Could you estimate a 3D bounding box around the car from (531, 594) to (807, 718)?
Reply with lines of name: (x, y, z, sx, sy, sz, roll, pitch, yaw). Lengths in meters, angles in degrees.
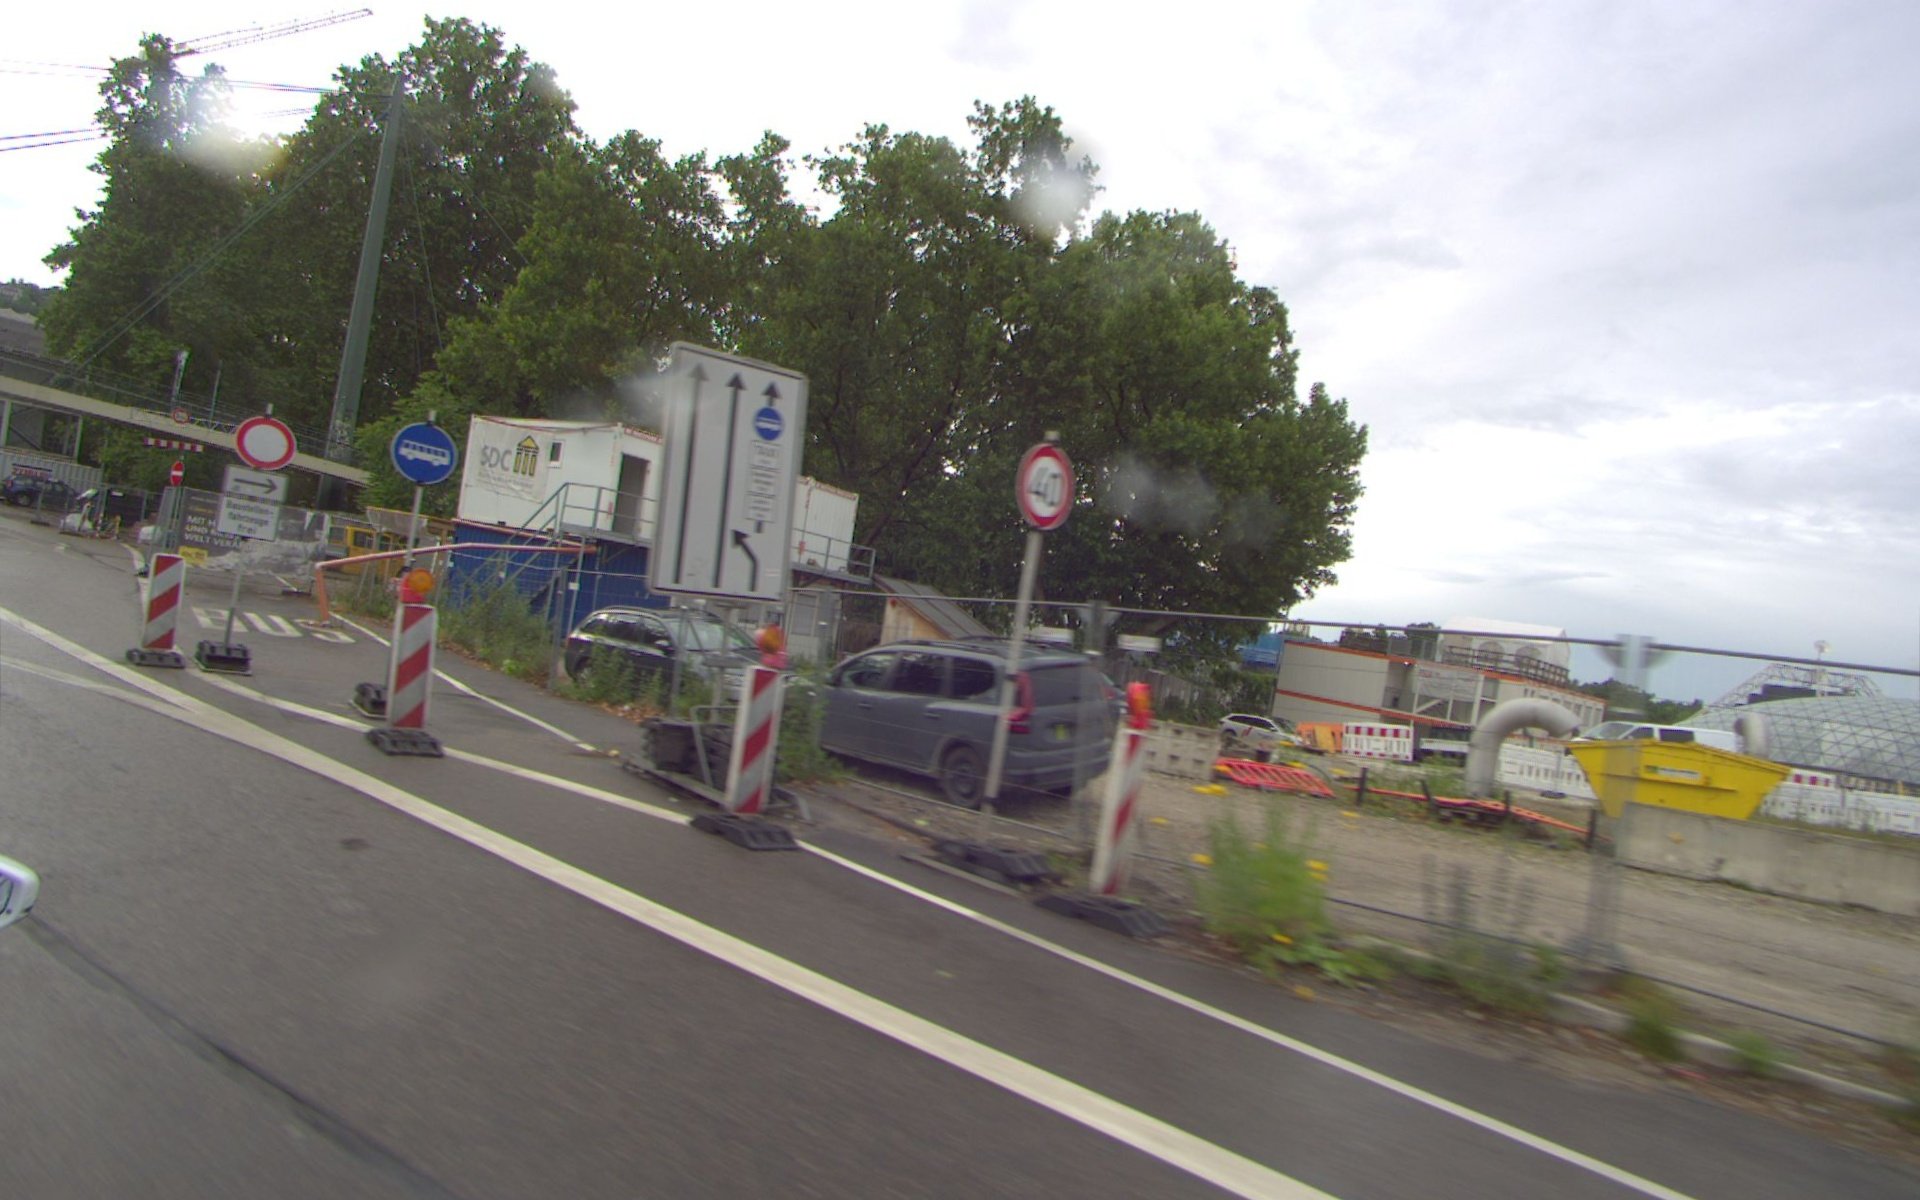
car: (-4.595, 0.837, 15.808, 3.932, 1.502, 1.854, 4, -1, 29)

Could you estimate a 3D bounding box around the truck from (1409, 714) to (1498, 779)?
truck: (20.580, 6.145, 41.810, 2.372, 2.073, 5.561, 7, -5, 35)

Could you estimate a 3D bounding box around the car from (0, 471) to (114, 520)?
car: (-48.687, -5.590, 54.050, 1.758, 1.647, 4.550, 10, 0, 34)

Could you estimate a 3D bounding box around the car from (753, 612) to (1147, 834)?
car: (-0.284, 1.204, 11.585, 4.354, 1.672, 1.915, 7, 3, 44)

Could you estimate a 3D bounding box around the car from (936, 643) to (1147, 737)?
car: (1.679, 1.873, 21.016, 3.931, 1.320, 1.717, 7, -3, 29)

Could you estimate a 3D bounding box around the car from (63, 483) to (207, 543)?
car: (-37.266, -3.918, 45.568, 1.966, 1.748, 4.510, 9, -2, 31)

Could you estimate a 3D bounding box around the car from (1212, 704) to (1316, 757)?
car: (13.744, 5.843, 45.497, 4.062, 1.597, 1.834, 7, 1, 30)

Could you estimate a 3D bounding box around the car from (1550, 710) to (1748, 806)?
car: (22.746, 5.202, 33.304, 5.170, 2.308, 1.952, 7, 1, -6)

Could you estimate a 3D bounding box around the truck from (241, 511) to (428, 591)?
truck: (-22.752, -1.742, 36.857, 2.368, 2.037, 5.166, 7, -2, 29)
